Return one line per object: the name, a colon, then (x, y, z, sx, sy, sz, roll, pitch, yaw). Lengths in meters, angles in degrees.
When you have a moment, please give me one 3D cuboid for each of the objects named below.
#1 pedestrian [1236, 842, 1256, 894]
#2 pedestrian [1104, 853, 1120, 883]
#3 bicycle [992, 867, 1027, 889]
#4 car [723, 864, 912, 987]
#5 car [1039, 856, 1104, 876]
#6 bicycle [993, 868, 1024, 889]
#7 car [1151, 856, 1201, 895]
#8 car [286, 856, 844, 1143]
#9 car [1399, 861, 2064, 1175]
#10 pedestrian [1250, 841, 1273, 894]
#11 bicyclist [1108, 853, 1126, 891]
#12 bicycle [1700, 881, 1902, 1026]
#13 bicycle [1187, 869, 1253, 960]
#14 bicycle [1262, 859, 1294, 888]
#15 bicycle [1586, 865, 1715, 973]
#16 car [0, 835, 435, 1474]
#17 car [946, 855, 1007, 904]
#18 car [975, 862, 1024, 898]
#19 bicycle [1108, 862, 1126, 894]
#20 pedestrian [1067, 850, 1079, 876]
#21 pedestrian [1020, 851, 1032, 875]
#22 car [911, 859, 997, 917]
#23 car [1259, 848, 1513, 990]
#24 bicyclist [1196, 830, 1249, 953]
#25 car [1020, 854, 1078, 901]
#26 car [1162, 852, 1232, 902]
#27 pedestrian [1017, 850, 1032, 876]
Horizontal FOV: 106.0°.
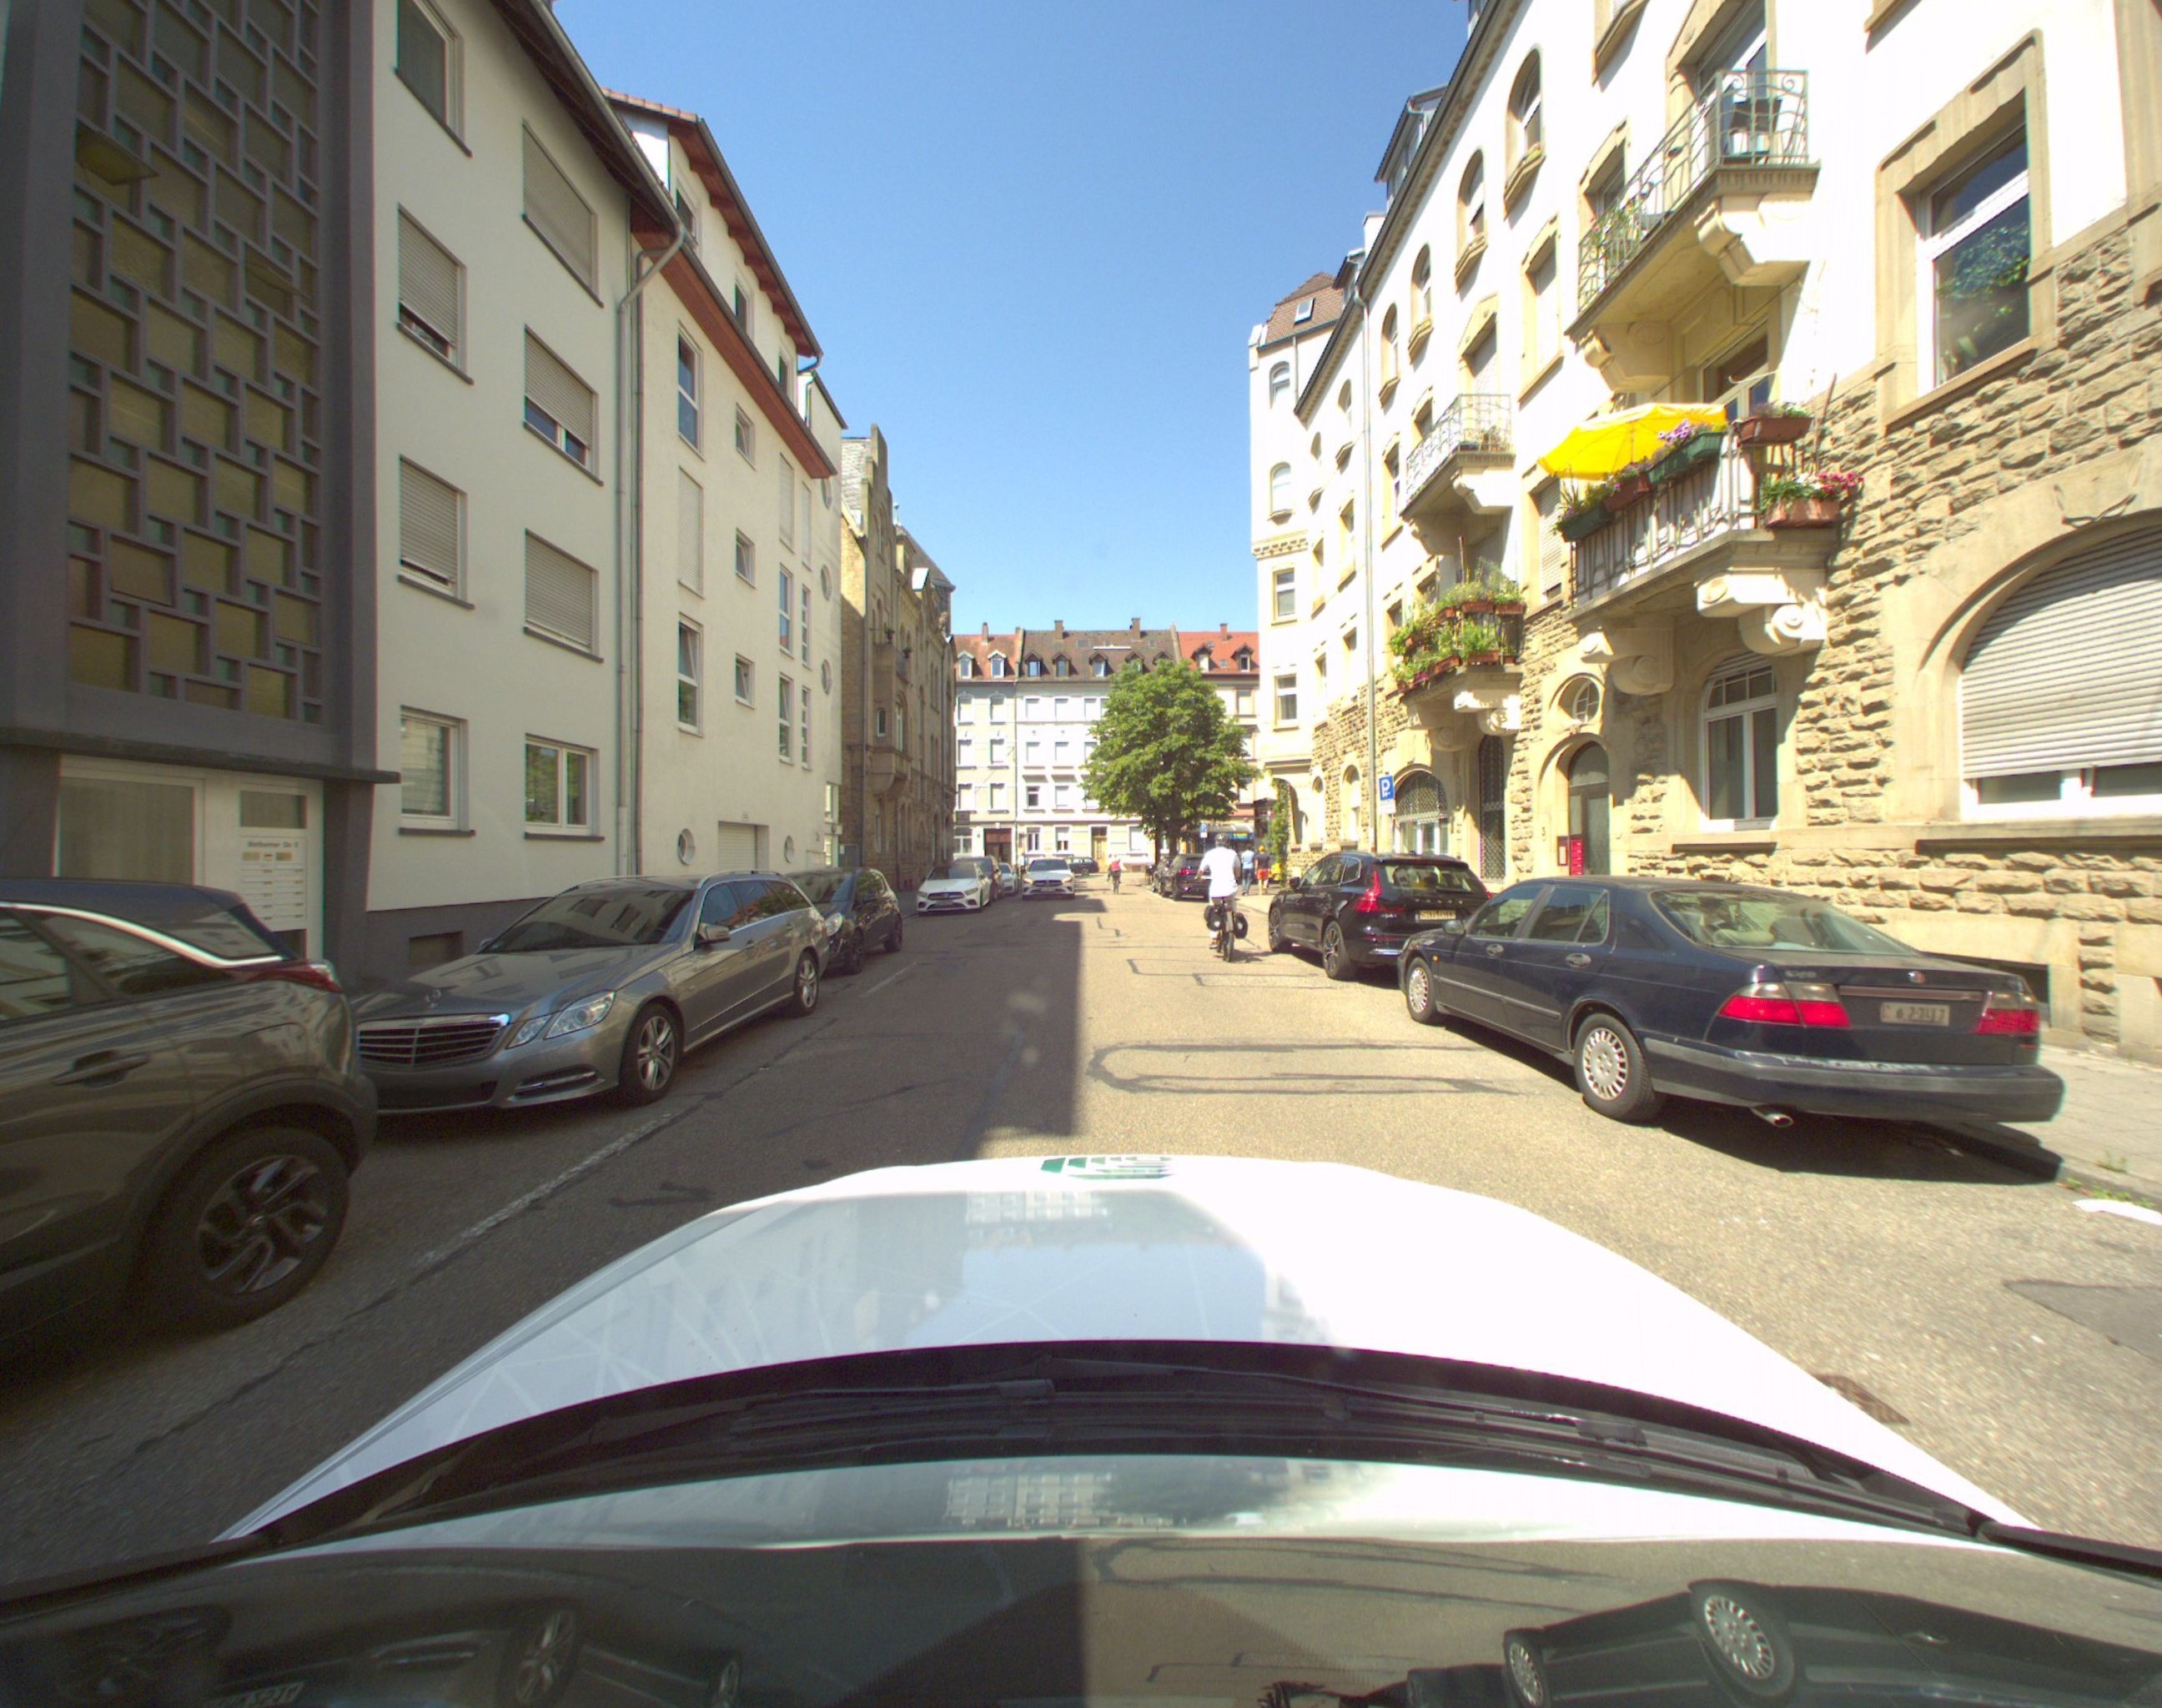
pedestrian: (6.046, 0.515, 29.841, 0.513, 1.869, 0.657, -1, -1, 28)
pedestrian: (1.737, 0.772, 46.328, 0.854, 1.672, 0.774, -1, -1, 0)
bicycle: (-3.553, 1.173, 40.463, 1.701, 1.045, 0.413, 2, -1, -4)
car: (-3.817, 0.949, 12.500, 1.562, 1.491, 3.893, -3, -1, 0)
car: (-0.695, 0.895, 62.056, 4.844, 1.437, 2.000, -1, -1, 0)
bicycle: (-3.640, 1.225, 40.975, 1.522, 1.008, 0.366, 2, -1, -4)
car: (3.959, 0.869, 34.431, 1.657, 1.540, 4.178, 1, 0, 1)
car: (-3.556, 0.826, 6.874, 1.651, 1.518, 4.671, -3, -1, 0)
car: (3.866, 0.795, 5.836, 1.508, 1.399, 3.970, 3, 0, -1)
pedestrian: (6.537, 0.484, 29.471, 0.594, 1.880, 0.888, -1, -1, 26)
bicyclist: (1.464, 0.723, 33.203, 0.668, 1.533, 0.609, -1, -1, 1)
bicycle: (6.939, 0.891, 7.975, 0.439, 1.208, 1.776, -1, -1, 2)
bicycle: (2.093, 0.858, 12.560, 0.649, 1.228, 2.442, 1, 0, 1)
bicycle: (8.543, 0.821, 35.240, 0.786, 1.169, 2.593, -1, -1, 27)
bicycle: (6.991, 0.746, 10.093, 0.383, 1.208, 1.776, -1, -1, 2)
car: (-3.615, 0.805, 1.503, 1.598, 1.644, 3.976, -3, -1, 0)
car: (-3.670, 0.866, 29.214, 1.668, 1.583, 4.050, -3, -1, -1)
car: (-3.368, 1.045, 34.352, 1.697, 1.352, 4.511, -3, -1, -2)
bicycle: (1.456, 0.959, 33.259, 0.649, 1.209, 2.442, 1, 0, 2)
pedestrian: (-0.609, 0.666, 60.719, 0.724, 1.853, 0.682, -1, -1, -10)
pedestrian: (-4.226, 0.681, 62.303, 0.899, 1.814, 0.959, -1, -1, -5)
car: (-3.655, 0.937, 24.135, 1.770, 1.460, 4.278, -3, -1, 0)
car: (3.979, 0.751, 11.567, 1.827, 1.567, 4.603, 1, 0, -1)
bicyclist: (2.087, 0.541, 12.096, 0.668, 1.760, 0.609, 1, -1, 1)
car: (-1.081, 0.805, 29.301, 1.835, 1.461, 4.362, -3, -1, 0)
car: (4.033, 0.756, 28.965, 1.731, 1.597, 4.345, 2, 0, -1)
pedestrian: (-4.274, 0.661, 61.363, 0.844, 1.889, 0.938, -1, -1, 11)
